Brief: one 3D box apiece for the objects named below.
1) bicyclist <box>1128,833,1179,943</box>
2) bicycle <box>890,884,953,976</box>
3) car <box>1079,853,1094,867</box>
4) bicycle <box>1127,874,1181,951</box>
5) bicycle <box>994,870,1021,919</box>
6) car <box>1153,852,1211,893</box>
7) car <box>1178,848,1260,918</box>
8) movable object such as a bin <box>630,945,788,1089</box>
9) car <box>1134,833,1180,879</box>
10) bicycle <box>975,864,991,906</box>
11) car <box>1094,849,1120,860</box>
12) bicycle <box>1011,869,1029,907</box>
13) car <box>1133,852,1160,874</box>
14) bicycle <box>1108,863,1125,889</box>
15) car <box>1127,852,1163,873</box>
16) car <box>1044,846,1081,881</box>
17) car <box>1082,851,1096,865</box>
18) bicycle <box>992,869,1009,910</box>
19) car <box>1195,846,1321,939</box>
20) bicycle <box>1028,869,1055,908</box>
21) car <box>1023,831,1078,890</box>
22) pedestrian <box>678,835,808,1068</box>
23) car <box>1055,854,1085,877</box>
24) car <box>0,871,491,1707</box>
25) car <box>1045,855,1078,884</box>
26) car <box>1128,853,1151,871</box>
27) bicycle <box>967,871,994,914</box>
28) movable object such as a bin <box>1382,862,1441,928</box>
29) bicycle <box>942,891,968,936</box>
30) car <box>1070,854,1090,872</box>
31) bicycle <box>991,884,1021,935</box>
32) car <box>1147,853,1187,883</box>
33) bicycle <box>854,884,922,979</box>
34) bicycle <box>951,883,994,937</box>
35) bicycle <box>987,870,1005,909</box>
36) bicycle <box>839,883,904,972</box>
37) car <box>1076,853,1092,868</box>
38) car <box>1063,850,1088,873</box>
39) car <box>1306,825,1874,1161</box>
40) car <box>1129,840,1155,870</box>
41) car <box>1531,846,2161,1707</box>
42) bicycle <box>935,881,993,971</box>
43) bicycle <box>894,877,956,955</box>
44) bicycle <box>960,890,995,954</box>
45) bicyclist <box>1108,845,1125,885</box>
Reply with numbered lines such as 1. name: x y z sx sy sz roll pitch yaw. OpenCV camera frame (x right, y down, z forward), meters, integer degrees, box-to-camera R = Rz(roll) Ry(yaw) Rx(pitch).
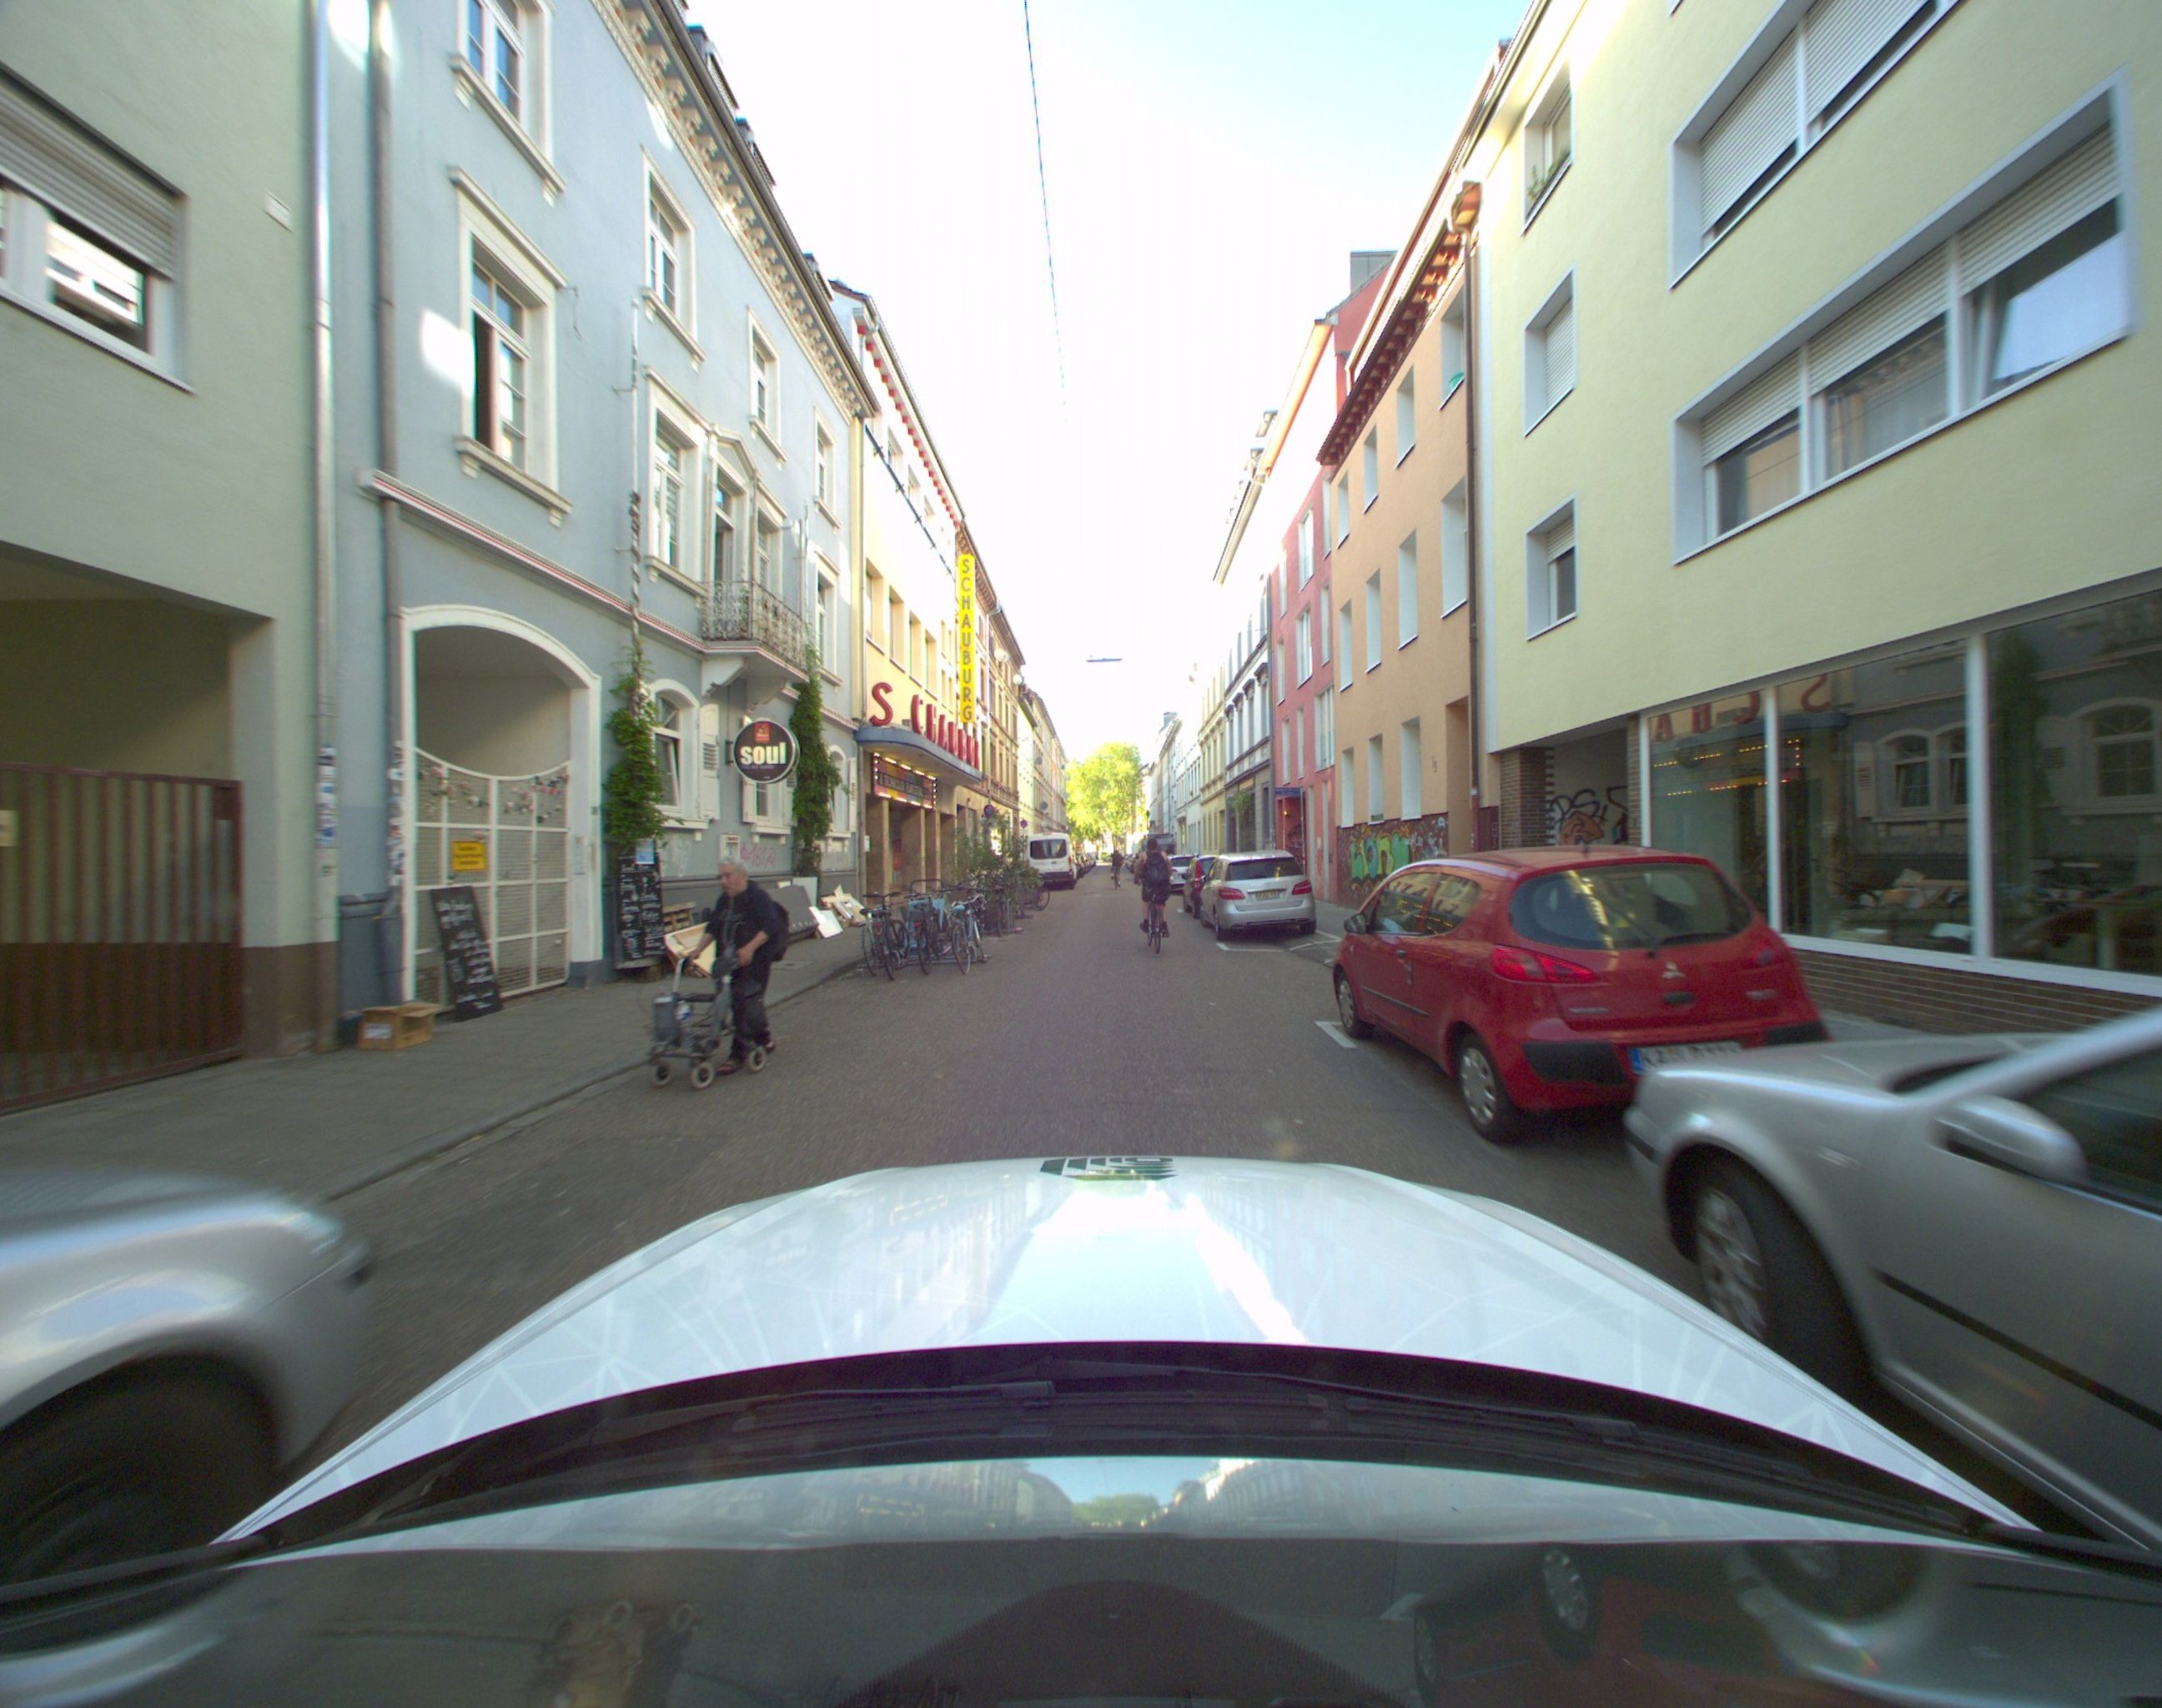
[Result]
1. bicyclist: 1.145 0.519 13.073 0.737 1.679 1.117 0 0 1
2. bicycle: -2.207 1.014 11.454 0.441 1.105 1.932 0 0 2
3. car: 0.631 0.669 93.728 1.540 1.550 3.463 -2 0 -1
4. bicycle: 1.143 0.900 13.167 0.737 1.100 2.043 0 0 2
5. bicycle: -1.784 0.958 19.959 0.544 1.094 1.880 0 0 -2
6. car: 4.015 0.694 32.925 1.780 1.454 4.548 -4 0 1
7. car: 3.456 0.681 20.868 1.595 1.539 3.453 -4 0 3
8. movable object such as a bin: -2.608 1.129 5.775 0.842 0.897 0.585 0 -1 -2
9. car: 4.408 0.121 48.057 2.167 2.425 6.311 -3 0 1
10. bicycle: -2.908 0.898 24.133 0.338 1.174 1.489 0 0 -2
11. car: 4.593 0.134 145.282 4.458 1.759 1.864 -2 0 -3
12. bicycle: -1.825 1.011 24.558 0.441 1.047 1.864 0 0 -2
13. car: 4.748 0.637 59.377 1.740 1.485 4.244 -2 0 2
14. bicycle: 1.501 0.908 34.661 0.661 1.037 1.959 -2 0 2
15. car: 4.995 0.614 64.158 1.810 1.478 4.596 -4 1 -7
16. car: -1.076 0.539 48.672 1.820 1.891 4.616 -4 0 2
17. car: 1.051 0.517 105.929 1.781 1.737 3.877 -2 0 1
18. bicycle: -2.410 1.043 24.541 0.398 1.174 1.668 0 0 -2
19. car: 3.325 0.651 16.053 1.739 1.556 4.174 -1 0 3
20. bicycle: -1.147 0.970 23.478 0.461 1.047 1.742 0 0 -14
21. car: -1.327 0.272 38.022 2.161 2.452 5.922 -3 0 1
22. pedestrian: -2.598 0.719 6.323 0.711 1.708 0.672 0 -1 -1
23. car: -0.714 0.742 55.362 1.856 1.440 4.644 -2 1 0
24. car: -2.616 0.816 0.217 1.673 1.454 4.039 -2 0 5
25. car: -1.022 0.783 44.072 1.640 1.447 3.839 -2 0 0
26. car: 4.970 0.628 69.379 1.719 1.429 3.832 -2 0 1
27. bicycle: -2.618 0.994 21.322 0.572 1.045 1.408 0 0 -2
28. movable object such as a bin: 5.695 0.692 14.062 0.689 1.058 0.737 -4 0 2
29. bicycle: -2.547 1.185 16.545 0.255 0.817 1.300 -1 0 3
30. car: -0.058 0.778 71.357 1.585 1.440 3.656 -2 0 3
31. bicycle: -1.493 1.085 16.320 0.388 0.916 1.394 -1 0 3
32. car: 4.375 0.701 41.821 1.741 1.444 4.174 -1 0 2
33. bicycle: -2.571 0.994 11.022 0.442 1.105 1.874 0 0 1
34. bicycle: -2.111 1.076 15.983 0.551 0.944 1.572 -1 0 3
35. bicycle: -2.385 0.983 22.902 0.416 1.047 1.317 0 0 -2
36. bicycle: -2.948 0.995 11.587 0.441 1.105 1.698 0 0 1
37. car: 0.309 0.698 86.355 1.599 1.530 3.378 -3 0 0
38. car: -0.422 0.625 66.384 1.794 1.698 4.002 -4 0 2
39. car: 2.948 0.658 5.844 1.690 1.523 3.983 -3 0 3
40. car: 5.586 0.071 74.649 2.194 2.551 6.042 -2 0 4
41. car: 2.662 0.741 1.188 1.682 1.453 4.194 -3 0 1
42. bicycle: -1.621 0.965 11.477 0.497 1.105 1.830 0 0 2
43. bicycle: -2.501 0.982 13.157 0.810 1.175 0.920 -1 0 -1
44. bicycle: -1.643 1.067 13.075 0.320 0.916 1.291 -1 0 3
45. bicyclist: 1.492 0.460 34.570 0.667 1.658 0.877 -2 0 2
